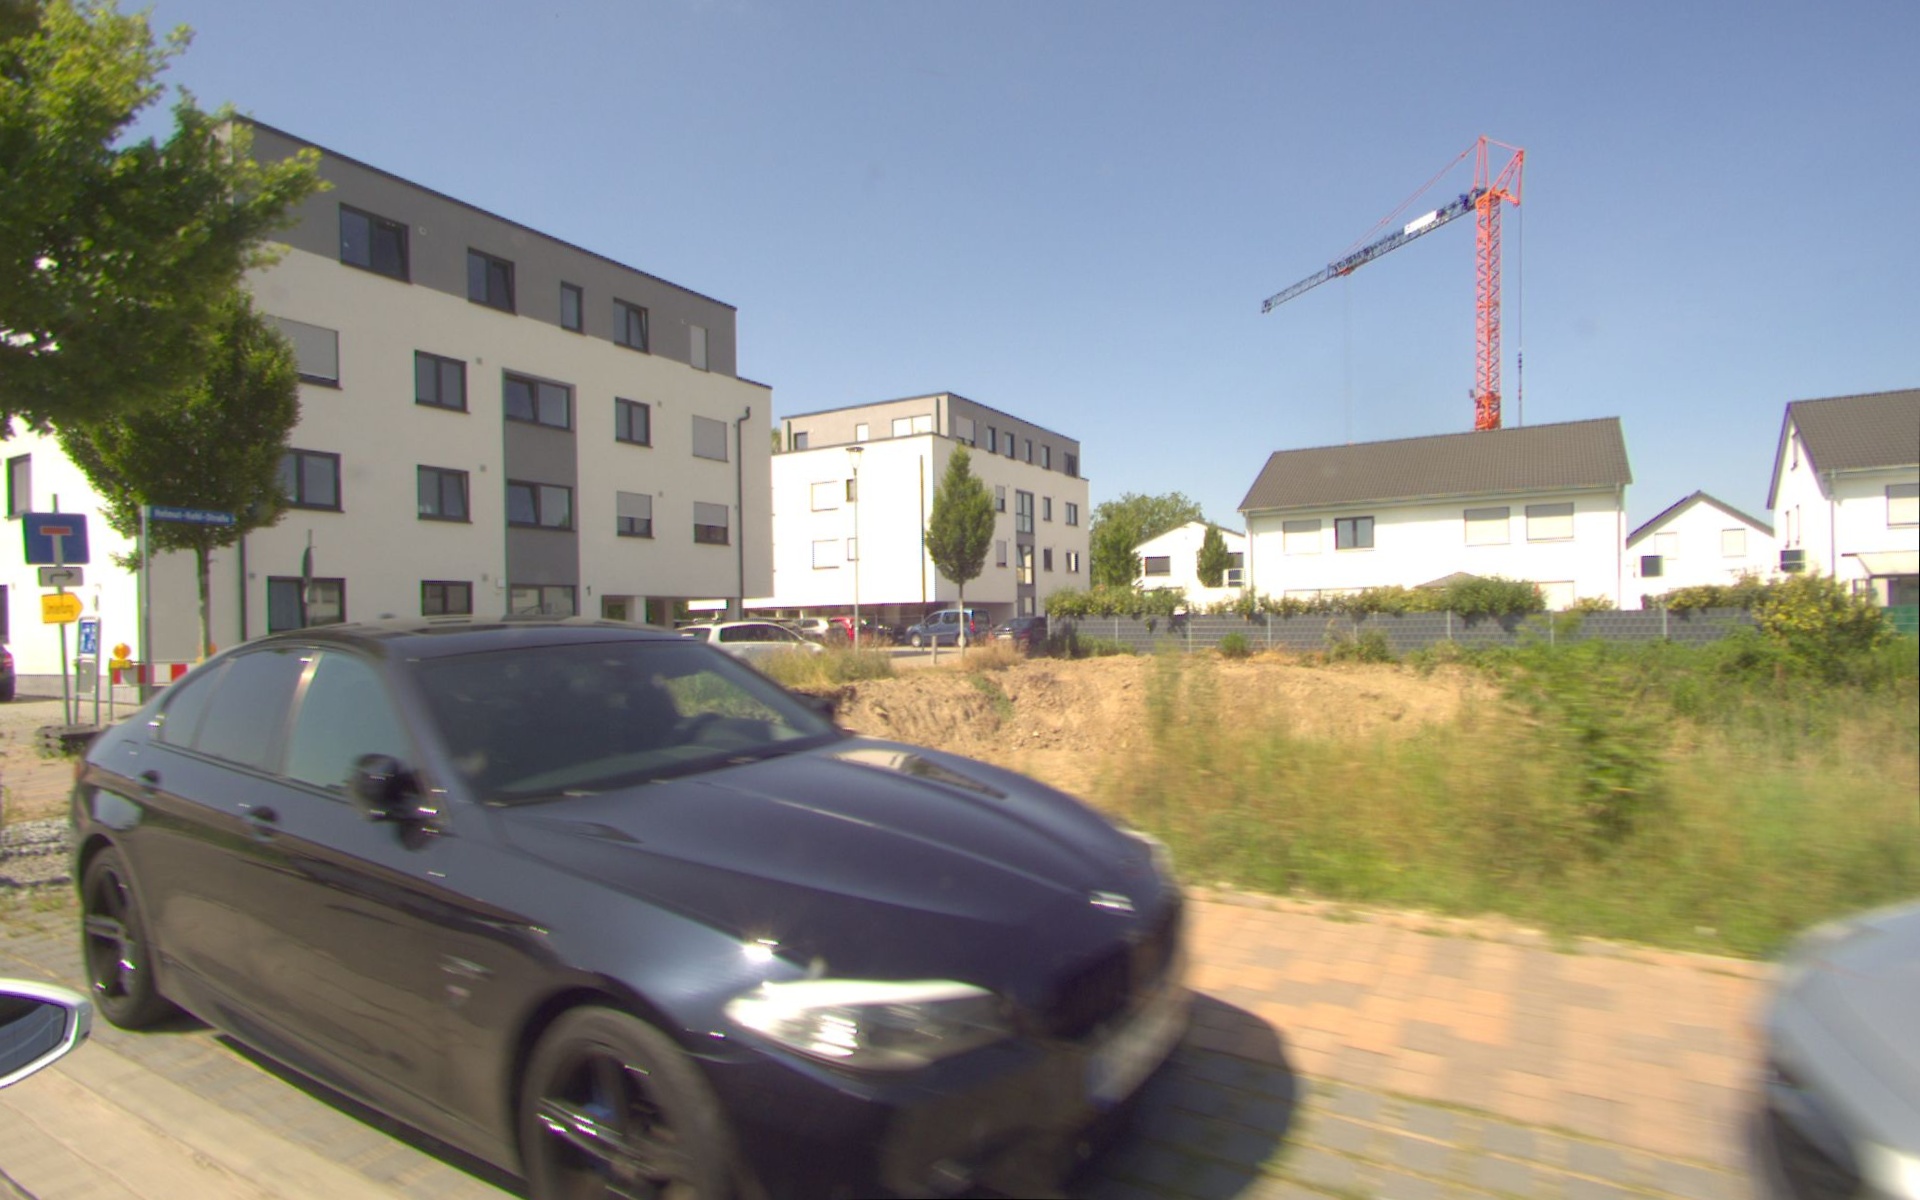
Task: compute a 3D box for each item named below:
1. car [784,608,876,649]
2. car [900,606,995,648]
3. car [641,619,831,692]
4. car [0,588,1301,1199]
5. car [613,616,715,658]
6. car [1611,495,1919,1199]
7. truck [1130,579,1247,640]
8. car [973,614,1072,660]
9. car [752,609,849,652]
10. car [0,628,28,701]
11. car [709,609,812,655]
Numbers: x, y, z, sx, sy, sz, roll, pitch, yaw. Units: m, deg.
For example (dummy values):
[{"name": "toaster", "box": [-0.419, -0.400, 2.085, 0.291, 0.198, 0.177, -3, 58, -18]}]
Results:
[{"name": "car", "box": [-6.243, 1.378, 47.972, 4.112, 1.833, 1.873, -3, -1, 31]}, {"name": "car", "box": [-0.613, 1.293, 46.969, 4.116, 1.833, 1.871, -3, -1, 35]}, {"name": "car", "box": [-4.932, 1.192, 22.588, 1.855, 1.454, 4.153, -2, -2, 30]}, {"name": "car", "box": [-1.576, 0.750, 3.707, 5.068, 1.489, 1.913, -1, 1, 34]}, {"name": "car", "box": [-11.572, 1.465, 39.105, 3.626, 1.522, 1.873, -3, -1, 31]}, {"name": "car", "box": [3.482, 0.623, 0.513, 5.218, 1.531, 1.914, -1, 1, 32]}, {"name": "truck", "box": [13.813, 0.557, 60.365, 6.863, 3.434, 2.291, -1, -2, -27]}, {"name": "car", "box": [2.283, 1.285, 35.501, 1.855, 1.497, 4.153, -2, -2, 30]}, {"name": "car", "box": [-7.268, 1.409, 45.531, 4.112, 1.833, 1.873, -3, -1, 31]}, {"name": "car", "box": [-21.472, 1.320, 21.000, 4.054, 1.488, 1.676, -1, -2, 29]}, {"name": "car", "box": [-8.557, 1.382, 42.910, 4.112, 1.833, 1.873, -3, -1, 31]}]
